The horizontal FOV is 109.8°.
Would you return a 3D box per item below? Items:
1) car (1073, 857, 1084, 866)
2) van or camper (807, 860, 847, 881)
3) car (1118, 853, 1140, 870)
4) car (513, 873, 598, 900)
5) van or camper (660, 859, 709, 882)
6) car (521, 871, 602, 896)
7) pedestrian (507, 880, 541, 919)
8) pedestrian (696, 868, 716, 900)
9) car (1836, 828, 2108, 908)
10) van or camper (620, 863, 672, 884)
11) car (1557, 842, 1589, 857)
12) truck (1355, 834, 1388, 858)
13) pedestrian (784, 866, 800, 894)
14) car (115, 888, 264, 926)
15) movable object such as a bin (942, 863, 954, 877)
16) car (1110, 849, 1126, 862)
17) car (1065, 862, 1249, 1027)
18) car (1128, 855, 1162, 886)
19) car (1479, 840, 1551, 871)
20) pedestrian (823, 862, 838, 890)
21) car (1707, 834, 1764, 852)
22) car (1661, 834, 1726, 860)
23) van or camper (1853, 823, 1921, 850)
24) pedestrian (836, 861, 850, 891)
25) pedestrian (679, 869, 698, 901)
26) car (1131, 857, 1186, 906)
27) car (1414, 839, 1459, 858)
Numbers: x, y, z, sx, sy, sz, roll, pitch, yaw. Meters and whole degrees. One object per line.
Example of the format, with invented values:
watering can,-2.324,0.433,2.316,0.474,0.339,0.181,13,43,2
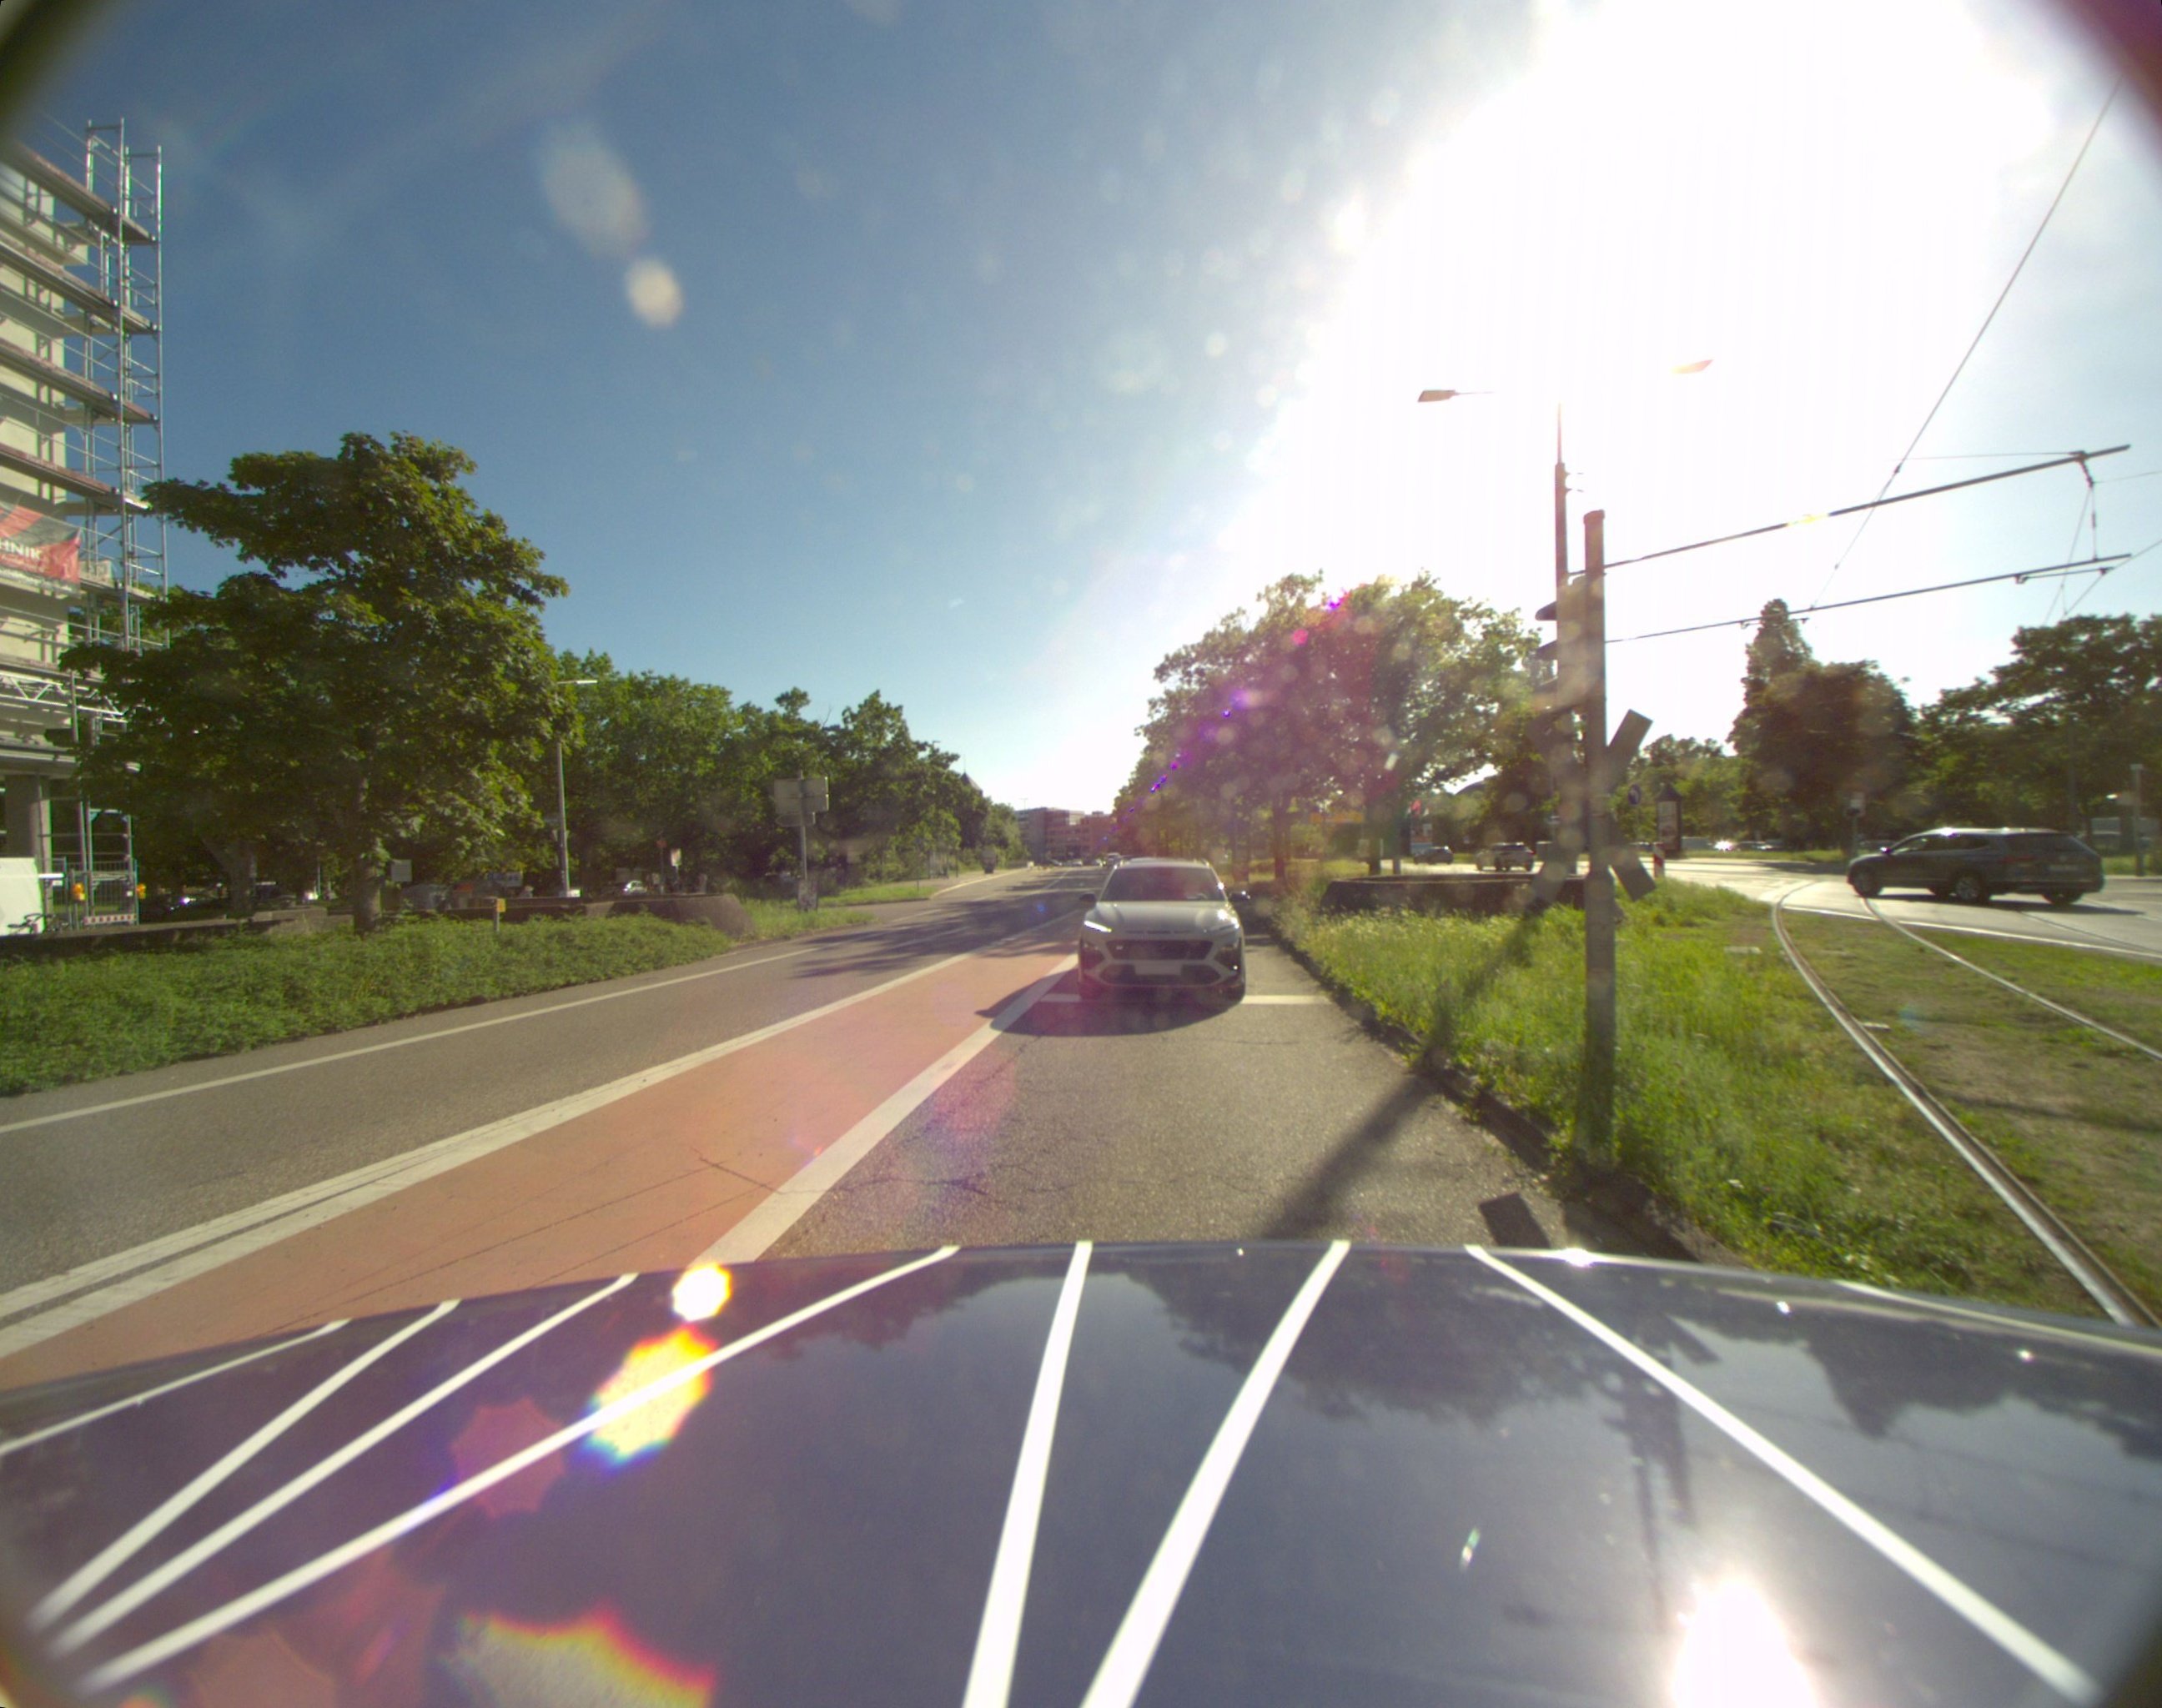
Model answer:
car,-0.377,1.417,141.876,1.998,1.524,4.000,-1,0,0
van or camper,-24.940,1.613,74.806,2.457,1.902,5.325,-2,0,-4
car,4.154,0.630,65.797,1.781,1.397,4.001,-2,0,4
car,-29.986,1.847,43.414,3.587,1.307,1.622,-2,2,-5
van or camper,-40.366,1.632,77.560,2.458,2.146,5.325,-2,0,-5
car,-31.505,1.765,46.151,3.650,1.267,1.622,-2,2,-5
pedestrian,-22.109,1.804,30.171,0.652,1.489,0.908,-2,1,-8
pedestrian,-19.973,1.582,40.471,0.705,1.610,0.566,-3,2,-5
car,20.615,0.284,17.962,1.755,1.604,4.728,-2,0,14
van or camper,-44.108,1.959,77.237,2.457,1.902,5.325,-2,0,-4
car,49.008,-0.488,75.765,1.818,1.440,4.005,-2,0,20
truck,29.646,-0.805,77.775,1.792,2.412,4.110,-2,0,1
pedestrian,-16.096,1.441,42.341,0.528,1.509,0.613,-2,1,3
car,-41.602,2.442,35.611,1.997,1.290,4.001,-3,1,8
movable object such as a bin,-9.936,1.197,56.707,0.728,1.024,0.578,-2,1,0
car,4.722,0.198,96.886,1.744,1.539,4.002,-3,-1,6
car,1.025,0.935,9.532,1.779,1.542,3.982,-2,0,8
car,3.389,0.840,40.043,1.677,1.499,3.950,-2,0,6
car,23.957,0.044,42.161,1.997,1.553,4.389,-2,0,9
pedestrian,-14.451,1.262,43.786,0.623,1.625,0.551,-2,1,1
car,52.385,-0.854,60.792,4.005,1.275,1.996,-2,1,-25
car,51.524,-0.624,63.915,5.006,2.002,2.235,-2,0,-25
van or camper,68.349,-1.460,64.548,1.996,2.084,4.407,-2,0,17
pedestrian,-13.864,1.283,44.239,0.603,1.690,0.410,-2,1,0
pedestrian,-20.865,1.633,40.394,0.599,1.610,0.566,-3,2,-5
car,2.738,0.912,26.822,1.744,1.539,4.001,-2,0,6
car,29.675,-0.449,63.619,1.667,1.440,4.401,-2,0,0
